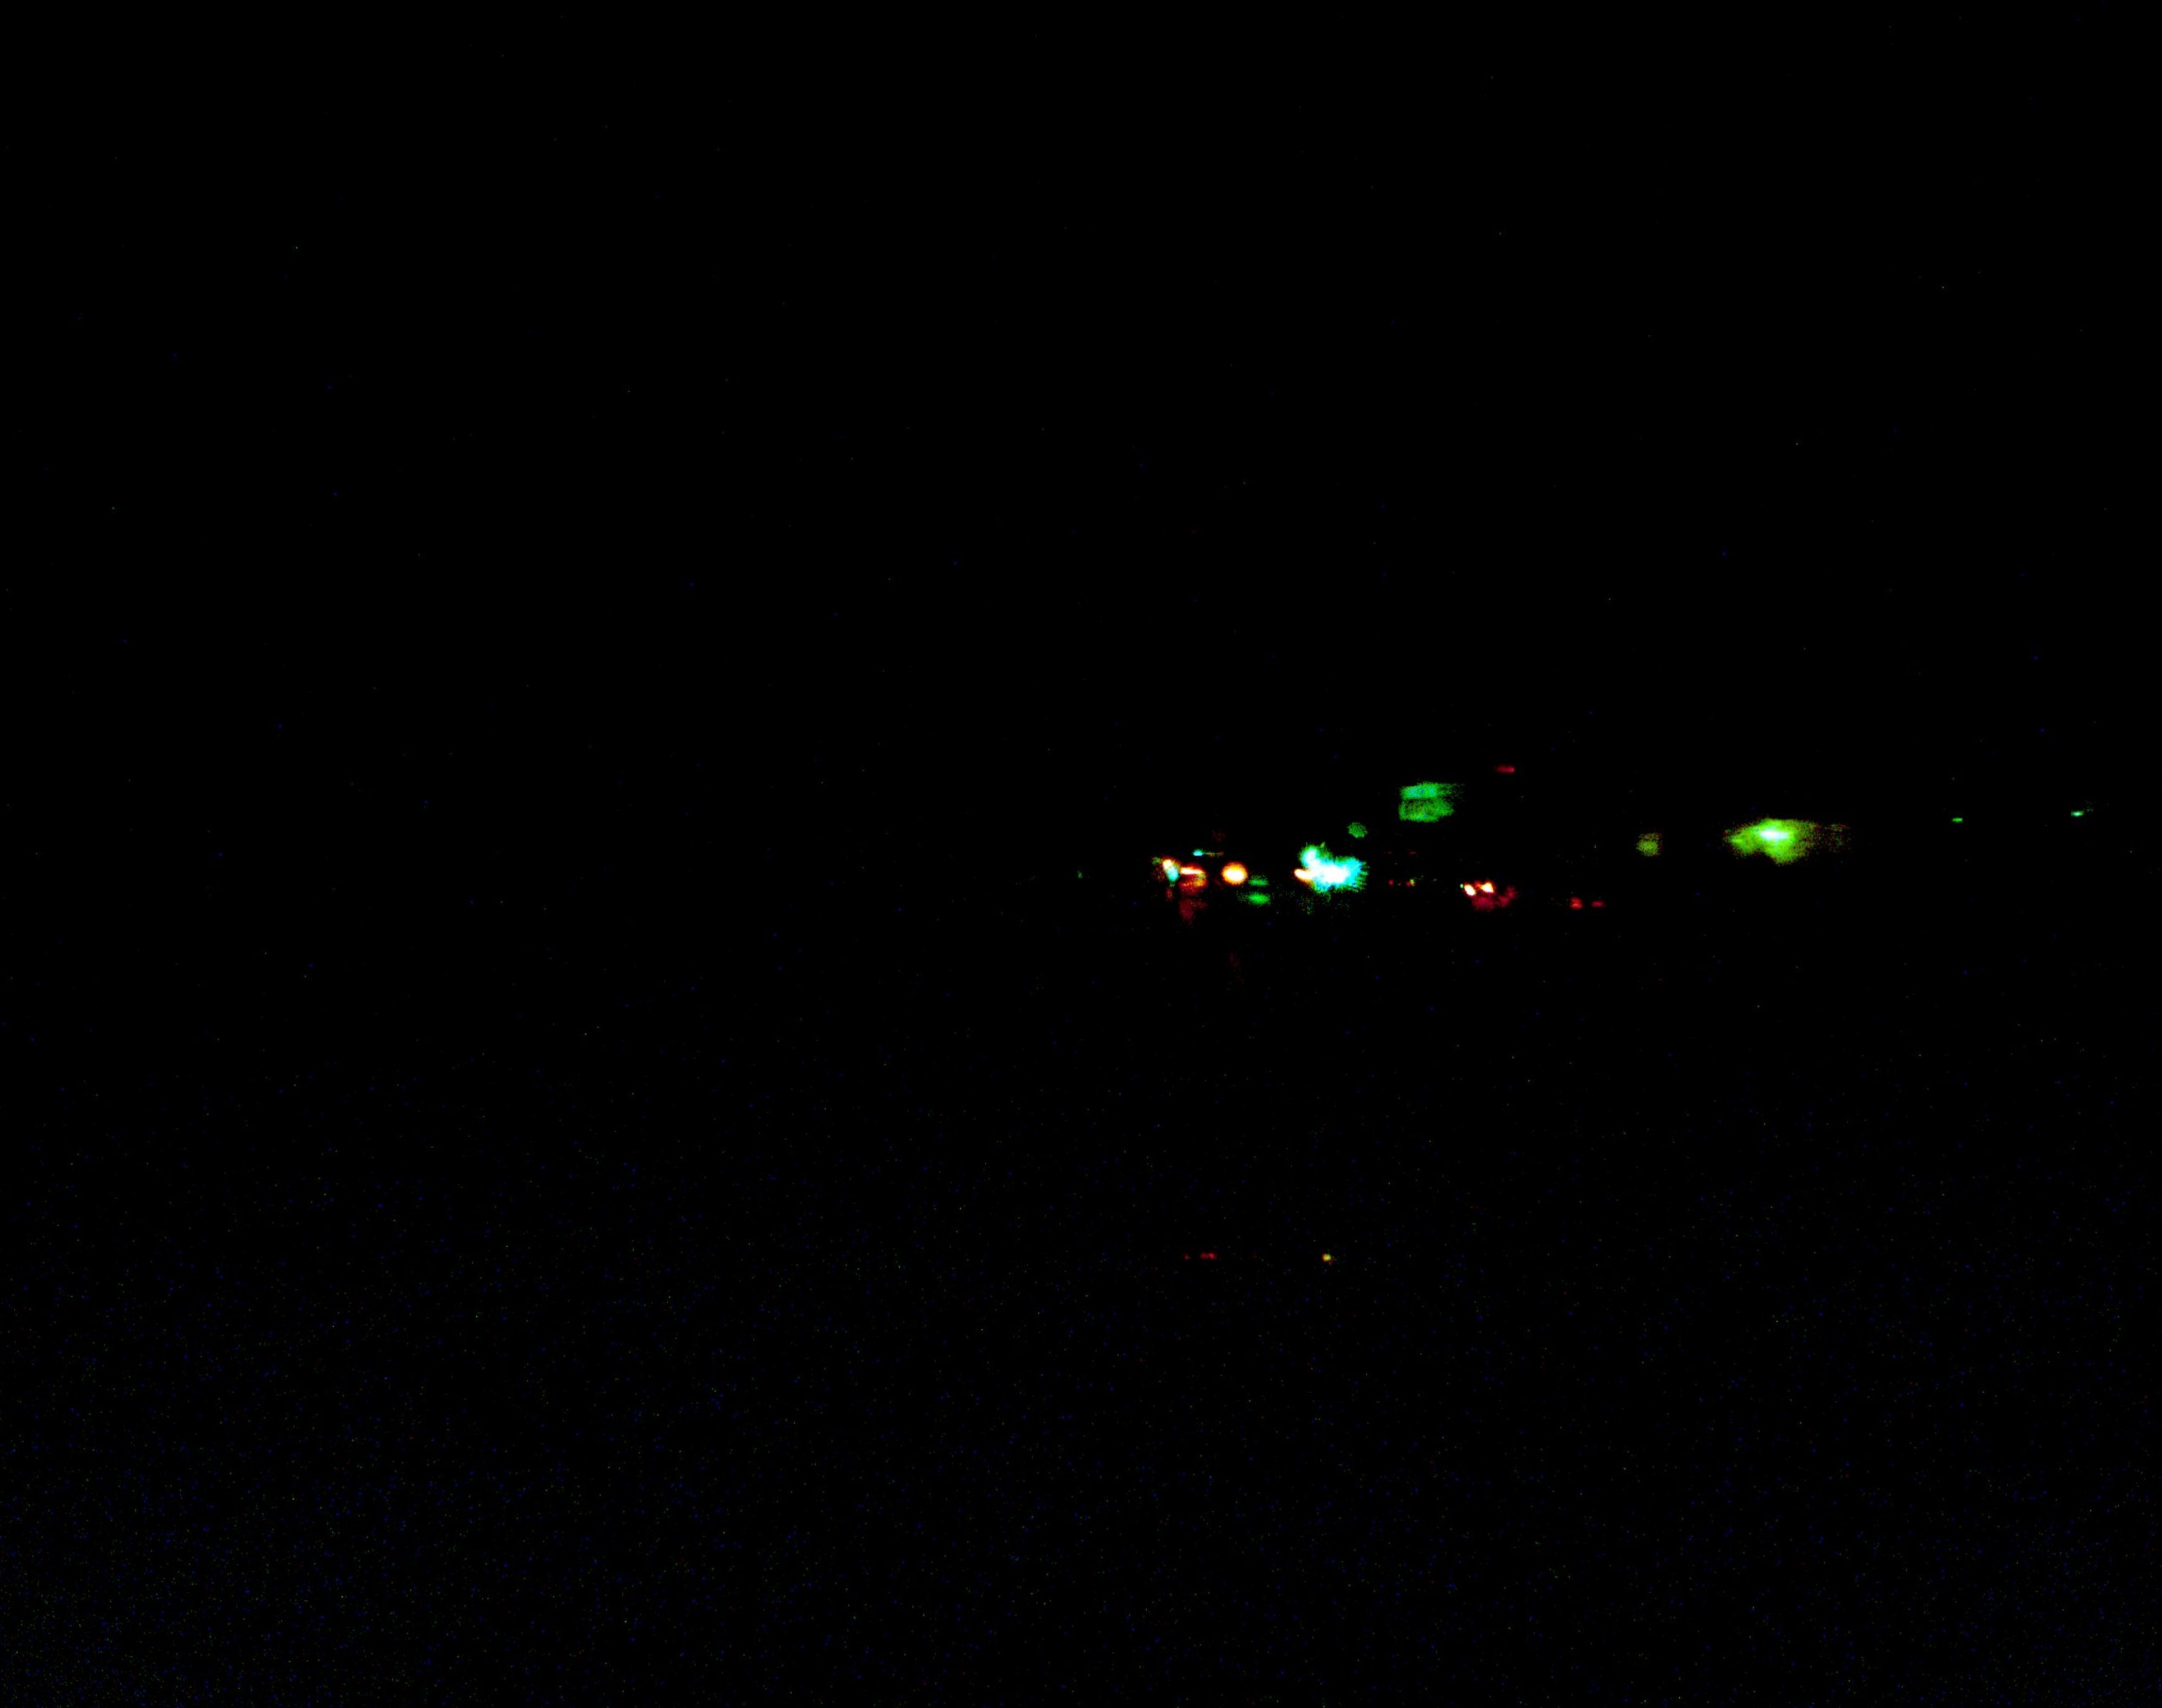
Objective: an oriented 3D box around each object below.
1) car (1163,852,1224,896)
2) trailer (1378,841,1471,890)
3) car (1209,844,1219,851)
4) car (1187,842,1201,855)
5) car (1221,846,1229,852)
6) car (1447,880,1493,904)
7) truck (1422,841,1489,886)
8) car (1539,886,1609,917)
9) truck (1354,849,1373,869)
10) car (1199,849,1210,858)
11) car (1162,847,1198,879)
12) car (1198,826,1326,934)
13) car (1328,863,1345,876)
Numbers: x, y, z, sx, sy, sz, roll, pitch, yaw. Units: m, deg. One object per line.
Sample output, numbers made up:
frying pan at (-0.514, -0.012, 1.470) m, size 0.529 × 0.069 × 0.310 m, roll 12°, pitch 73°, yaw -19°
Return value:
car at (4.200, 0.695, 29.082) m, size 1.803 × 1.511 × 4.535 m, roll 0°, pitch 1°, yaw 2°
trailer at (37.484, 1.156, 82.646) m, size 11.573 × 4.768 × 3.330 m, roll -2°, pitch 1°, yaw -32°
car at (28.899, -1.428, 165.113) m, size 1.788 × 1.470 × 3.683 m, roll -1°, pitch 1°, yaw 13°
car at (16.563, -0.790, 111.270) m, size 1.997 × 1.795 × 4.598 m, roll -2°, pitch 1°, yaw 8°
car at (37.272, -1.268, 197.048) m, size 1.638 × 1.511 × 3.774 m, roll 0°, pitch 1°, yaw 17°
car at (32.530, 3.168, 63.674) m, size 1.812 × 1.666 × 4.293 m, roll -2°, pitch 1°, yaw 4°
truck at (42.208, 0.986, 85.575) m, size 7.330 × 4.768 × 3.330 m, roll -2°, pitch 1°, yaw -32°
car at (30.729, 2.917, 47.511) m, size 1.812 × 1.561 × 4.293 m, roll -2°, pitch 1°, yaw 3°
truck at (51.373, 0.814, 138.256) m, size 2.759 × 3.463 × 8.115 m, roll -1°, pitch 0°, yaw 18°
car at (22.916, -0.139, 141.002) m, size 1.811 × 1.666 × 4.296 m, roll -1°, pitch 1°, yaw 13°
car at (5.480, 0.484, 42.331) m, size 1.691 × 1.671 × 3.468 m, roll -1°, pitch 1°, yaw 3°
car at (3.851, 0.490, 16.867) m, size 1.998 × 2.063 × 4.000 m, roll -2°, pitch 1°, yaw 2°
car at (37.086, 2.237, 110.412) m, size 1.811 × 1.666 × 4.296 m, roll -1°, pitch 1°, yaw 11°
